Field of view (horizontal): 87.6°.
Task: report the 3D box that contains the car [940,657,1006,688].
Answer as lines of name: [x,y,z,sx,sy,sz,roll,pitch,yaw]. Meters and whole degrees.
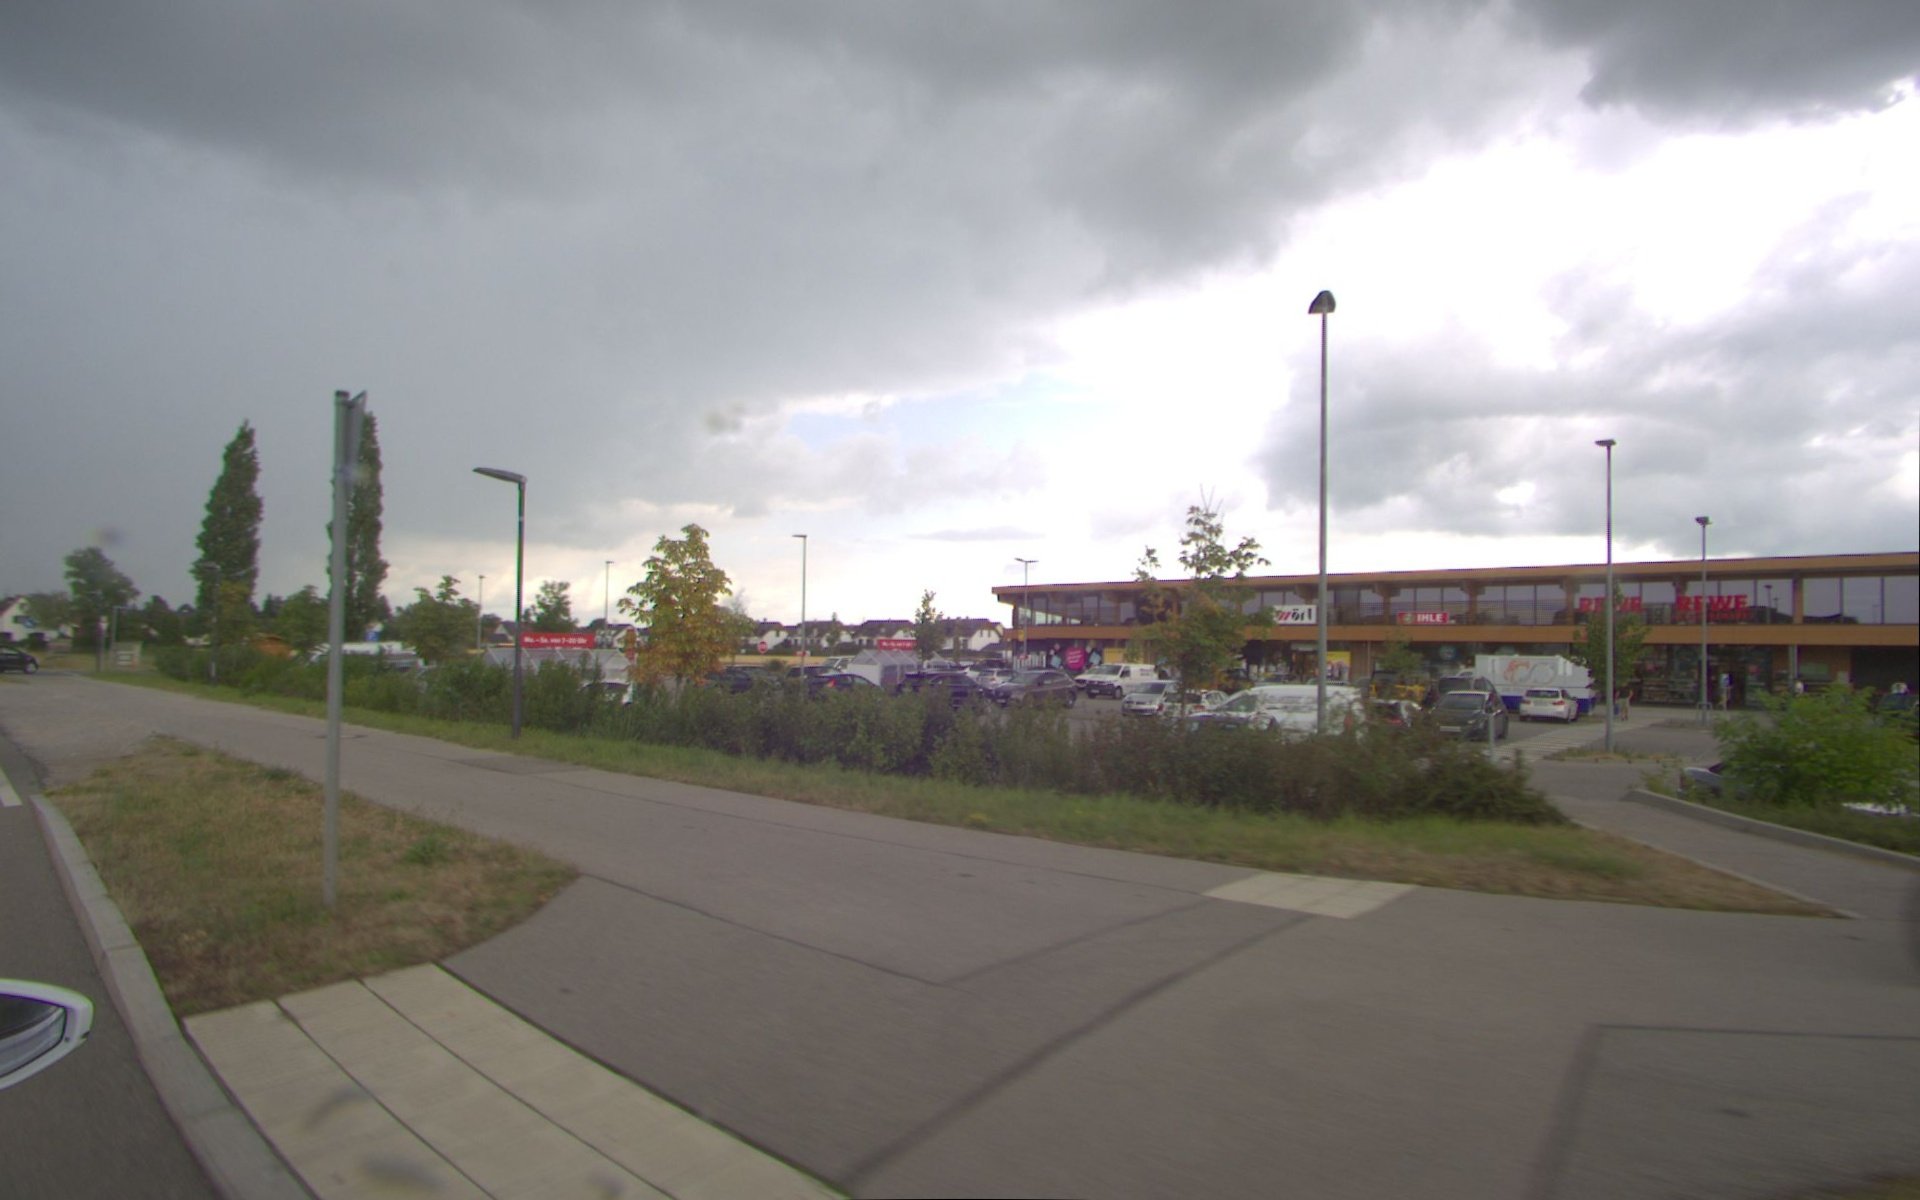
car: [0.861,4.602,63.890,3.961,1.860,1.982,4,-4,-43]

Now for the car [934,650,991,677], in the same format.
car: [0.230,4.607,72.875,3.961,1.863,1.857,3,-4,-43]

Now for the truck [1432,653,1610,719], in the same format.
truck: [27.047,4.069,48.437,7.170,2.842,2.957,-1,-3,39]

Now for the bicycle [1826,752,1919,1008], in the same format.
bicycle: [4.598,1.133,4.162,1.681,0.958,0.497,0,-1,-7]

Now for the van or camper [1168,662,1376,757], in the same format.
van or camper: [7.850,2.674,25.407,4.743,2.124,1.755,-1,-3,36]

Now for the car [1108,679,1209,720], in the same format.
car: [8.163,4.018,40.907,1.884,1.503,4.750,-2,-4,43]

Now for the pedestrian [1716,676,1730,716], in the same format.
pedestrian: [38.828,4.876,50.965,0.519,1.973,0.574,-1,-3,43]

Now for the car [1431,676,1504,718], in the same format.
car: [22.054,4.175,43.436,1.832,1.745,4.089,-3,-5,42]

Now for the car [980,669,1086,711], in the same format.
car: [3.281,3.899,44.100,1.979,1.685,4.950,-2,-4,43]

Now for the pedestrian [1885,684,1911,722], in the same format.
pedestrian: [42.206,4.621,45.056,0.796,1.678,0.744,-1,-3,43]

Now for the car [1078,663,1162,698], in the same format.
car: [8.900,4.422,55.251,1.979,1.853,5.260,-2,-5,43]

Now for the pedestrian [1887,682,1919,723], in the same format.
pedestrian: [45.462,4.947,48.282,0.913,1.920,0.792,1,-4,25]

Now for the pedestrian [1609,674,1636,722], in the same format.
pedestrian: [29.169,4.291,44.067,0.920,2.039,0.800,-1,-3,38]

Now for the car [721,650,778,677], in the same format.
car: [-16.798,5.081,80.010,3.964,1.859,1.982,7,-6,-43]

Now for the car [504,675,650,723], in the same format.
car: [-13.044,3.320,34.273,1.979,1.458,4.211,-2,-4,43]

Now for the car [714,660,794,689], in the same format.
car: [-12.011,4.348,58.507,4.288,1.597,1.750,4,-4,-45]

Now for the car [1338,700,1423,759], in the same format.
car: [11.701,3.550,27.740,1.808,1.414,3.990,0,-5,28]

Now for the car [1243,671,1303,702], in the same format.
car: [17.477,4.770,55.741,1.747,1.632,4.197,-2,-4,40]

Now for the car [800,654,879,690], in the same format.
car: [-7.329,4.344,61.468,1.972,2.039,5.100,1,-2,33]

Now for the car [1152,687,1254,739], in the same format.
car: [7.829,3.564,32.087,1.662,1.503,3.970,-1,-5,39]

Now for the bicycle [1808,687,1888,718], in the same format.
bicycle: [42.649,4.895,48.156,2.838,1.325,0.972,-2,-4,42]

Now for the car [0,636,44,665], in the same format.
car: [-47.339,2.472,49.349,1.416,1.389,3.514,1,-4,-7]

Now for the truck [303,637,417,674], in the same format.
truck: [-31.701,2.967,53.053,1.976,1.895,4.780,-2,-4,39]

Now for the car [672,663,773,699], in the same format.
car: [-11.760,3.978,49.769,1.979,1.685,4.534,-1,-4,43]

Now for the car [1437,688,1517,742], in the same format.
car: [17.415,3.805,33.629,1.710,1.572,3.975,-1,-4,38]

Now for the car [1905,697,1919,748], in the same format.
car: [32.939,4.111,33.541,1.696,1.588,3.643,-1,-4,41]

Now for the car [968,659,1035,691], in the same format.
car: [2.568,4.635,61.829,3.964,1.860,1.981,4,-5,-44]

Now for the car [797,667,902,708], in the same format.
car: [-4.852,3.836,44.388,1.979,1.685,4.381,-1,-4,43]

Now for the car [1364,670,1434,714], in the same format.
car: [20.164,4.186,45.970,1.754,1.877,3.968,-2,-5,43]

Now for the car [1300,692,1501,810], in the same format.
car: [5.535,1.848,13.031,1.549,1.221,3.759,2,-5,10]

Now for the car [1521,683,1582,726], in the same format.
car: [24.562,4.280,41.516,1.710,1.549,3.975,-1,-3,38]

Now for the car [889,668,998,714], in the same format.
car: [-0.602,3.619,40.051,1.784,1.726,4.430,-2,-5,43]

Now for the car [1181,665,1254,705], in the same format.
car: [13.342,4.416,51.839,1.979,1.859,3.970,-2,-6,43]

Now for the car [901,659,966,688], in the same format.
car: [-1.715,4.792,65.481,3.962,1.860,1.981,4,-4,-43]

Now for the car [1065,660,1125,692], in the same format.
car: [8.665,4.880,64.058,1.778,1.916,4.084,-1,-5,42]

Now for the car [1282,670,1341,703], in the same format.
car: [19.093,4.684,54.320,1.747,1.674,3.866,-2,-4,41]

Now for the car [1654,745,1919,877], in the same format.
car: [12.240,3.011,14.888,1.550,1.389,3.736,1,-4,6]

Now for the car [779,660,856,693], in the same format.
car: [-7.720,4.166,54.461,1.698,1.726,3.968,-2,-5,43]
